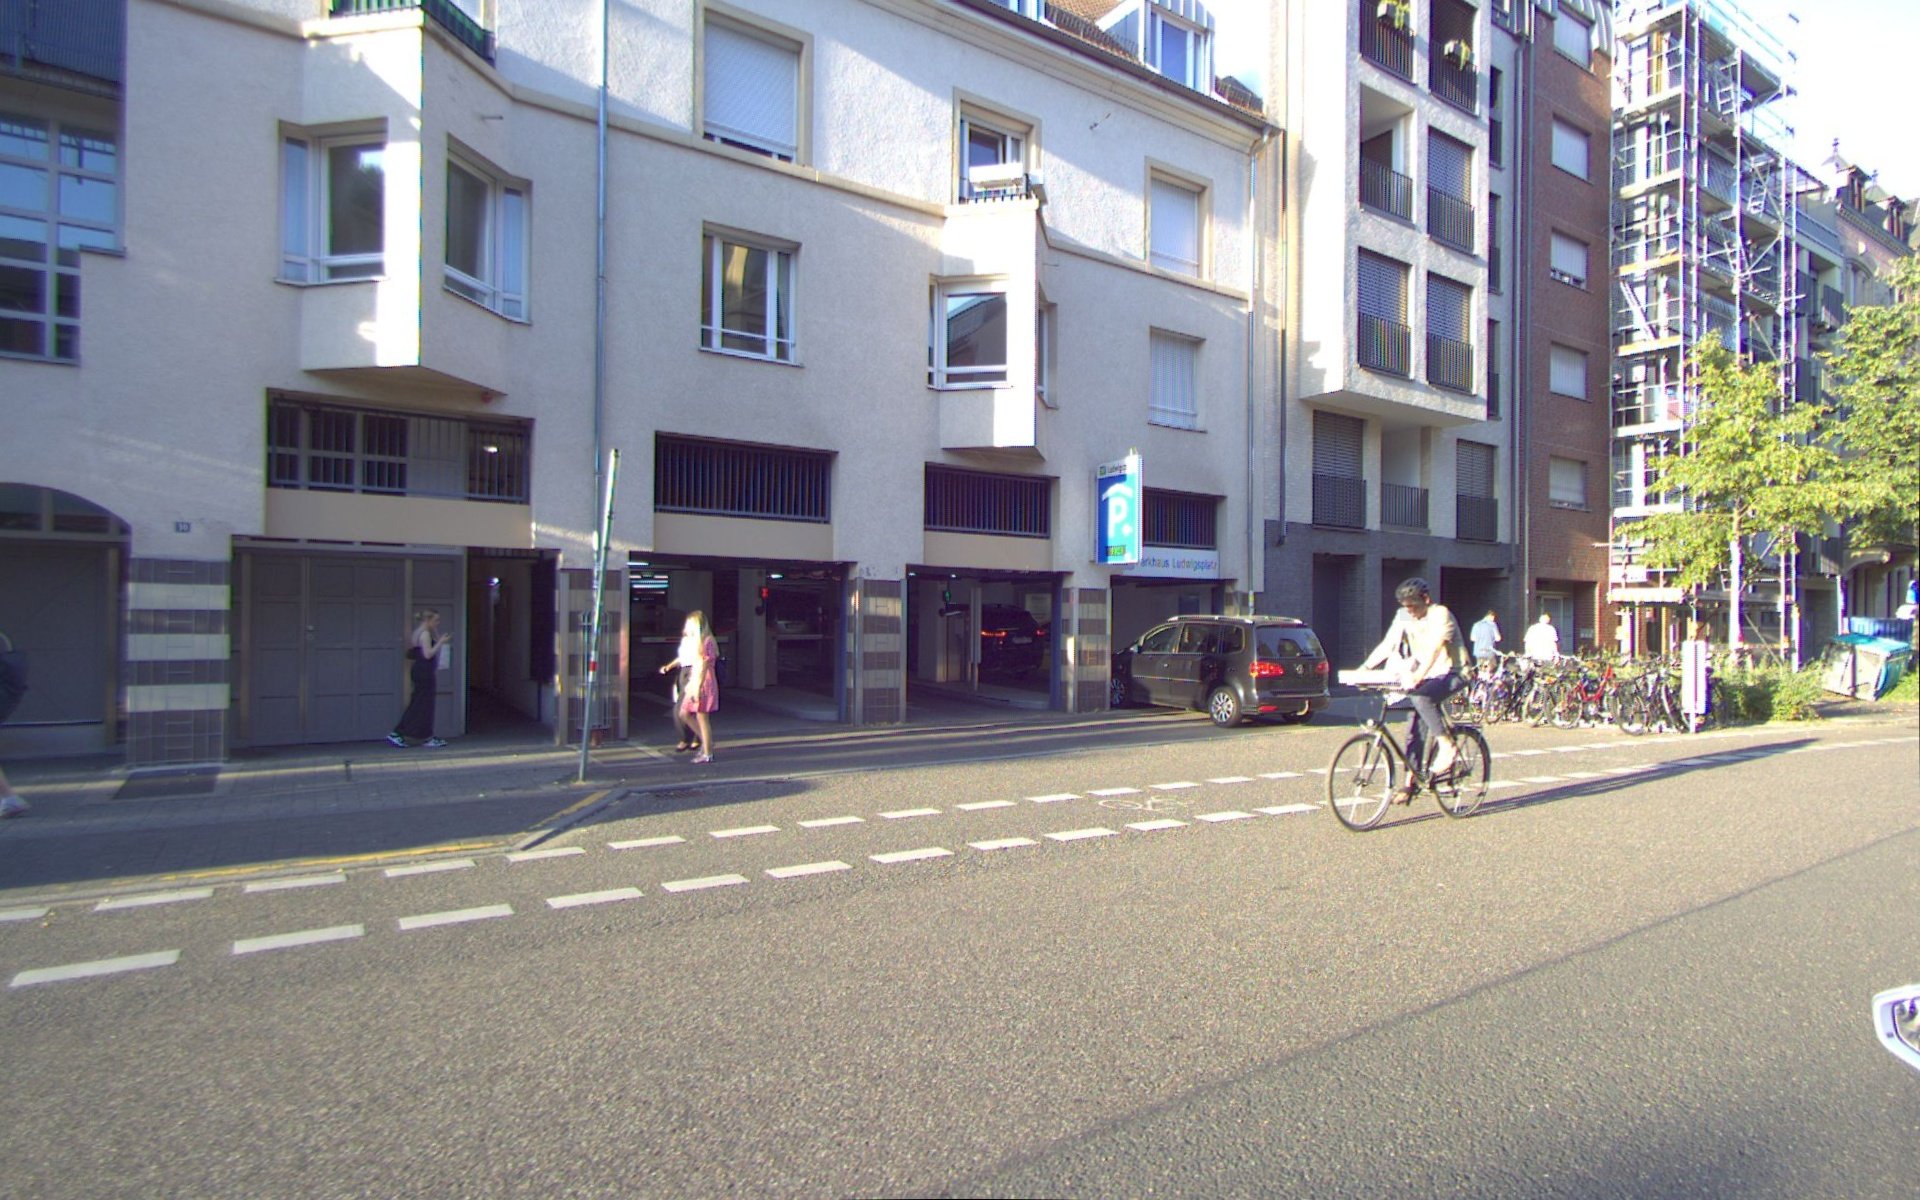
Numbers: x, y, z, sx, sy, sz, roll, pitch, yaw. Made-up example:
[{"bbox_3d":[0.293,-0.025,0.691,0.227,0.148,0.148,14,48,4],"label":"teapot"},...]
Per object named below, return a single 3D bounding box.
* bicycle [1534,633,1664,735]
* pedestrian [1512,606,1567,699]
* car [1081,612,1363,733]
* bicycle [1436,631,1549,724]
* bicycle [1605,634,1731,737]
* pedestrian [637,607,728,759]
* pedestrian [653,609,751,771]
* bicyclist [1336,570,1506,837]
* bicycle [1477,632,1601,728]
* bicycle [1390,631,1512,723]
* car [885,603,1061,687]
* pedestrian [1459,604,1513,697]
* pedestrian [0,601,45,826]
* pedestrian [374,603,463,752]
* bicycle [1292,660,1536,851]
[{"bbox_3d":[9.897,1.226,15.480,3.142,1.414,0.885,2,-1,-42],"label":"bicycle"},{"bbox_3d":[11.464,1.023,19.859,0.733,1.763,0.710,2,0,-41],"label":"pedestrian"},{"bbox_3d":[4.137,1.082,16.658,1.976,1.623,4.475,2,0,-29],"label":"car"},{"bbox_3d":[8.869,1.233,16.638,3.137,1.414,0.579,2,0,-42],"label":"bicycle"},{"bbox_3d":[10.480,1.196,14.805,3.163,1.368,0.837,2,-2,-42],"label":"bicycle"},{"bbox_3d":[-3.215,0.931,11.620,0.844,1.663,0.713,2,0,-28],"label":"pedestrian"},{"bbox_3d":[-2.814,0.946,10.931,0.845,1.663,0.713,2,0,-29],"label":"pedestrian"},{"bbox_3d":[3.476,0.738,7.582,0.997,1.853,0.775,2,-2,-35],"label":"bicyclist"},{"bbox_3d":[9.334,1.228,16.120,3.119,1.391,0.773,2,0,-42],"label":"bicycle"},{"bbox_3d":[8.425,1.264,17.143,3.129,1.414,0.714,2,0,-42],"label":"bicycle"},{"bbox_3d":[0.171,0.943,22.764,1.976,1.623,4.473,2,0,-30],"label":"car"},{"bbox_3d":[10.452,0.992,19.951,0.689,1.790,0.710,2,0,-41],"label":"pedestrian"},{"bbox_3d":[-7.603,0.837,7.562,0.942,1.663,0.712,2,0,-36],"label":"pedestrian"},{"bbox_3d":[-6.243,0.865,11.583,0.845,1.637,0.713,2,0,-31],"label":"pedestrian"},{"bbox_3d":[3.436,1.078,7.536,2.001,1.220,0.775,2,-2,-36],"label":"bicycle"}]
